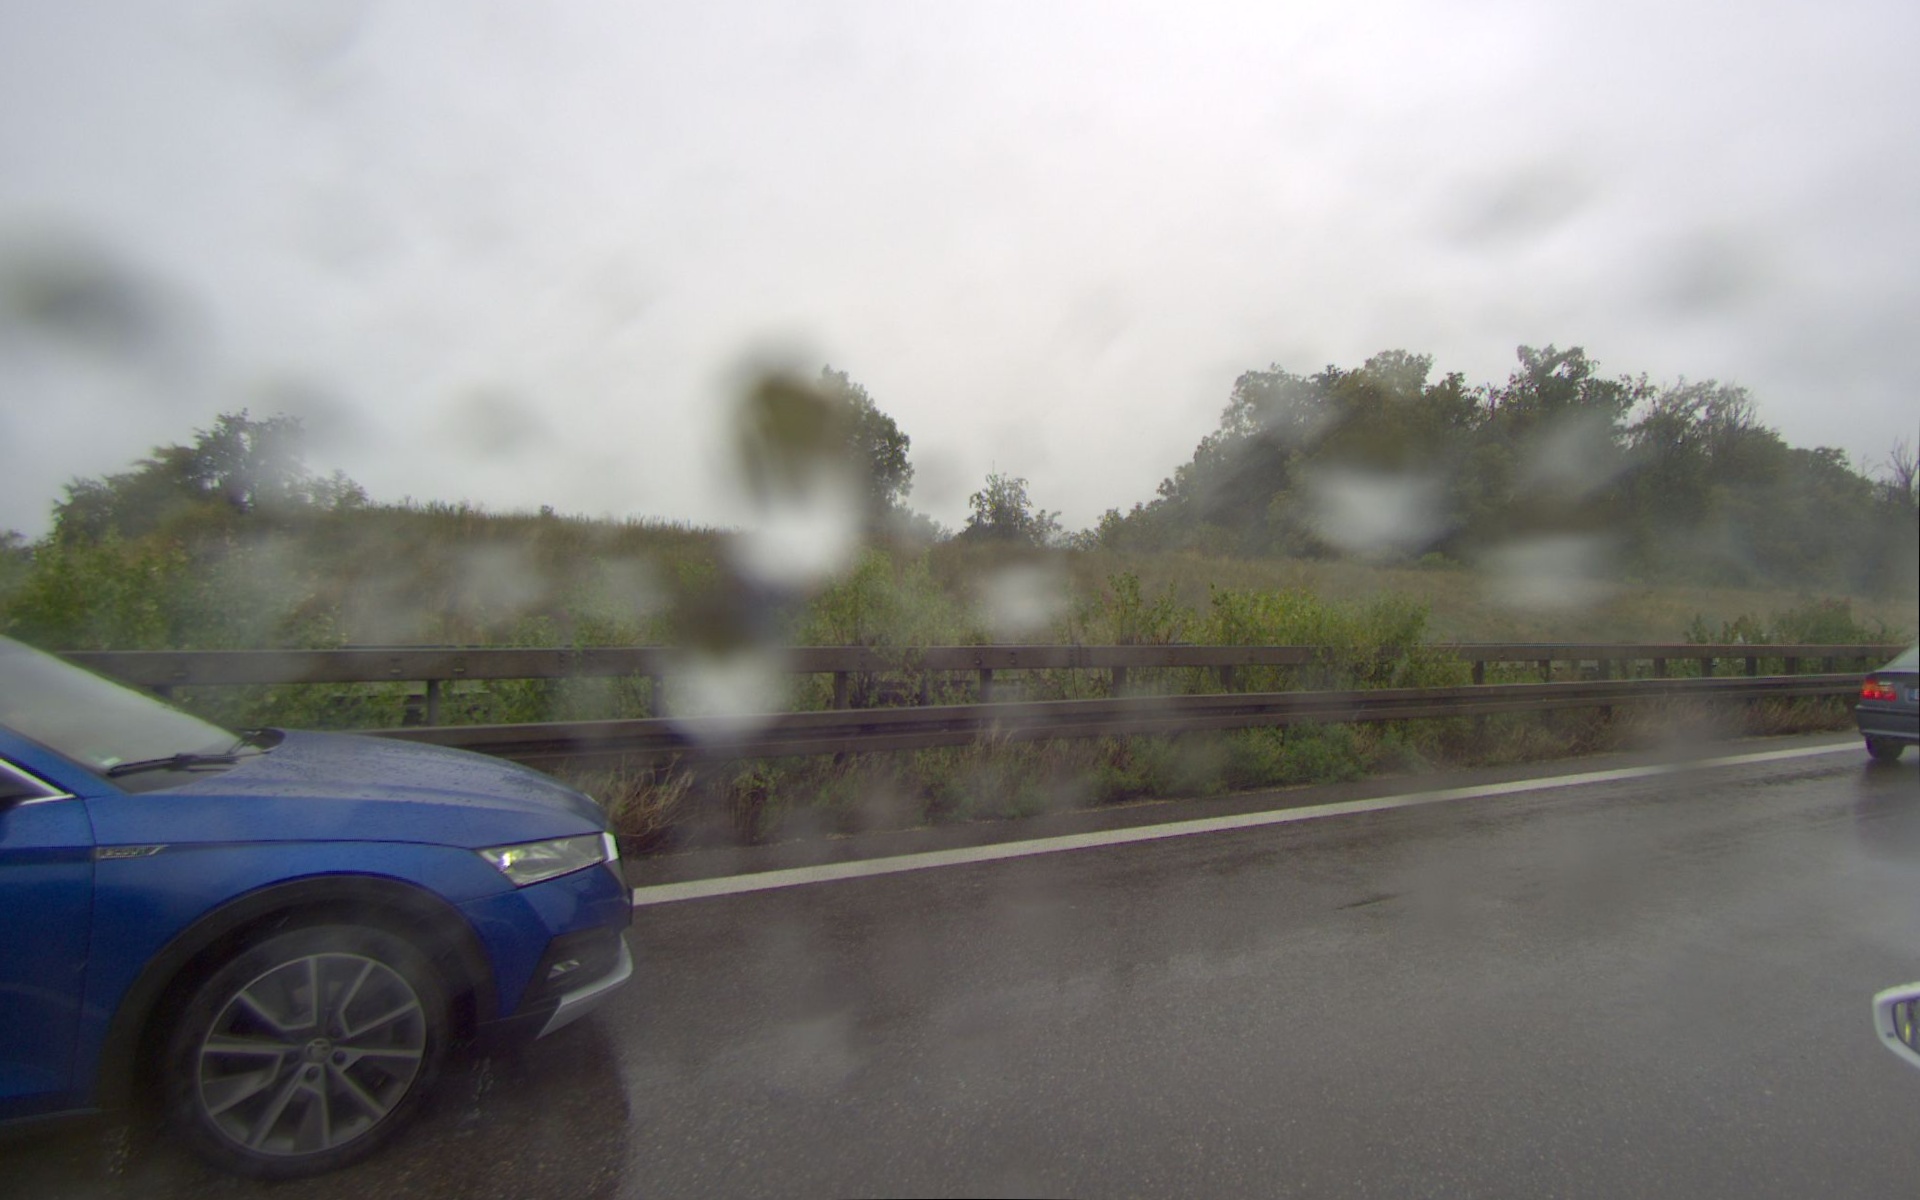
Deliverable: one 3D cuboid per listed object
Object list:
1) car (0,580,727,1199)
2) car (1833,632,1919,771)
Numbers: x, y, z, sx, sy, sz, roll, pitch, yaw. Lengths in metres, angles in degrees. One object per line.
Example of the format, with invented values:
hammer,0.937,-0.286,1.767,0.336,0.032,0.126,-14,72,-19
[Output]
car,-3.054,0.692,2.591,4.459,1.496,1.777,1,0,-30
car,11.816,1.113,11.293,4.179,1.418,1.710,2,-1,-29
